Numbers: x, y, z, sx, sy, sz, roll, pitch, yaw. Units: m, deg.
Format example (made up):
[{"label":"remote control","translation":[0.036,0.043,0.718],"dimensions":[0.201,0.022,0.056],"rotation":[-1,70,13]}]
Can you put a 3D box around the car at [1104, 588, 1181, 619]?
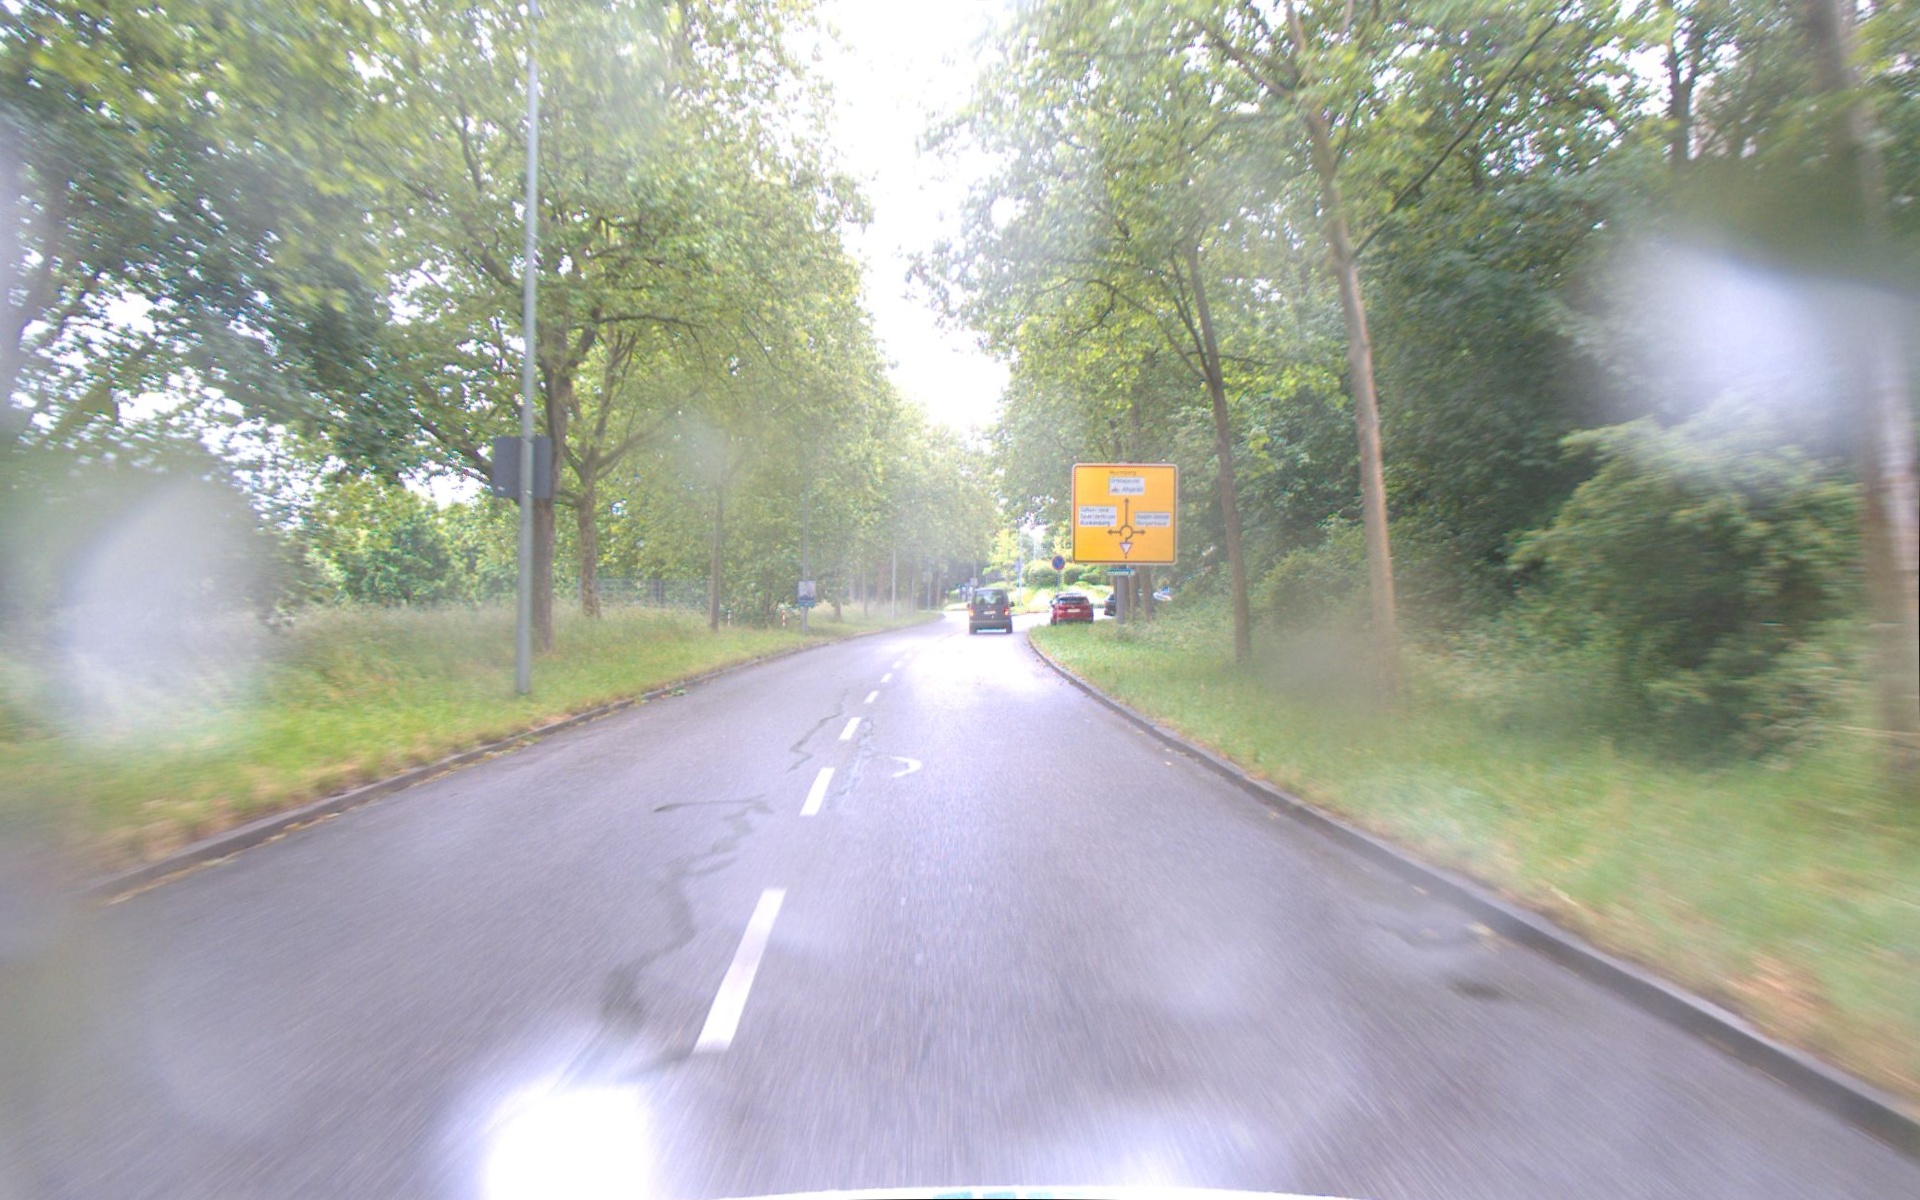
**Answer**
[{"label":"car","translation":[10.490,0.208,95.098],"dimensions":[4.376,1.709,1.769],"rotation":[0,1,5]}]

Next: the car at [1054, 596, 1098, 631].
[{"label":"car","translation":[4.824,0.552,69.064],"dimensions":[1.759,1.396,3.745],"rotation":[-2,0,4]}]

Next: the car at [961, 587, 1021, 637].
[{"label":"car","translation":[1.299,0.464,68.441],"dimensions":[1.878,1.832,3.793],"rotation":[-4,0,8]}]
